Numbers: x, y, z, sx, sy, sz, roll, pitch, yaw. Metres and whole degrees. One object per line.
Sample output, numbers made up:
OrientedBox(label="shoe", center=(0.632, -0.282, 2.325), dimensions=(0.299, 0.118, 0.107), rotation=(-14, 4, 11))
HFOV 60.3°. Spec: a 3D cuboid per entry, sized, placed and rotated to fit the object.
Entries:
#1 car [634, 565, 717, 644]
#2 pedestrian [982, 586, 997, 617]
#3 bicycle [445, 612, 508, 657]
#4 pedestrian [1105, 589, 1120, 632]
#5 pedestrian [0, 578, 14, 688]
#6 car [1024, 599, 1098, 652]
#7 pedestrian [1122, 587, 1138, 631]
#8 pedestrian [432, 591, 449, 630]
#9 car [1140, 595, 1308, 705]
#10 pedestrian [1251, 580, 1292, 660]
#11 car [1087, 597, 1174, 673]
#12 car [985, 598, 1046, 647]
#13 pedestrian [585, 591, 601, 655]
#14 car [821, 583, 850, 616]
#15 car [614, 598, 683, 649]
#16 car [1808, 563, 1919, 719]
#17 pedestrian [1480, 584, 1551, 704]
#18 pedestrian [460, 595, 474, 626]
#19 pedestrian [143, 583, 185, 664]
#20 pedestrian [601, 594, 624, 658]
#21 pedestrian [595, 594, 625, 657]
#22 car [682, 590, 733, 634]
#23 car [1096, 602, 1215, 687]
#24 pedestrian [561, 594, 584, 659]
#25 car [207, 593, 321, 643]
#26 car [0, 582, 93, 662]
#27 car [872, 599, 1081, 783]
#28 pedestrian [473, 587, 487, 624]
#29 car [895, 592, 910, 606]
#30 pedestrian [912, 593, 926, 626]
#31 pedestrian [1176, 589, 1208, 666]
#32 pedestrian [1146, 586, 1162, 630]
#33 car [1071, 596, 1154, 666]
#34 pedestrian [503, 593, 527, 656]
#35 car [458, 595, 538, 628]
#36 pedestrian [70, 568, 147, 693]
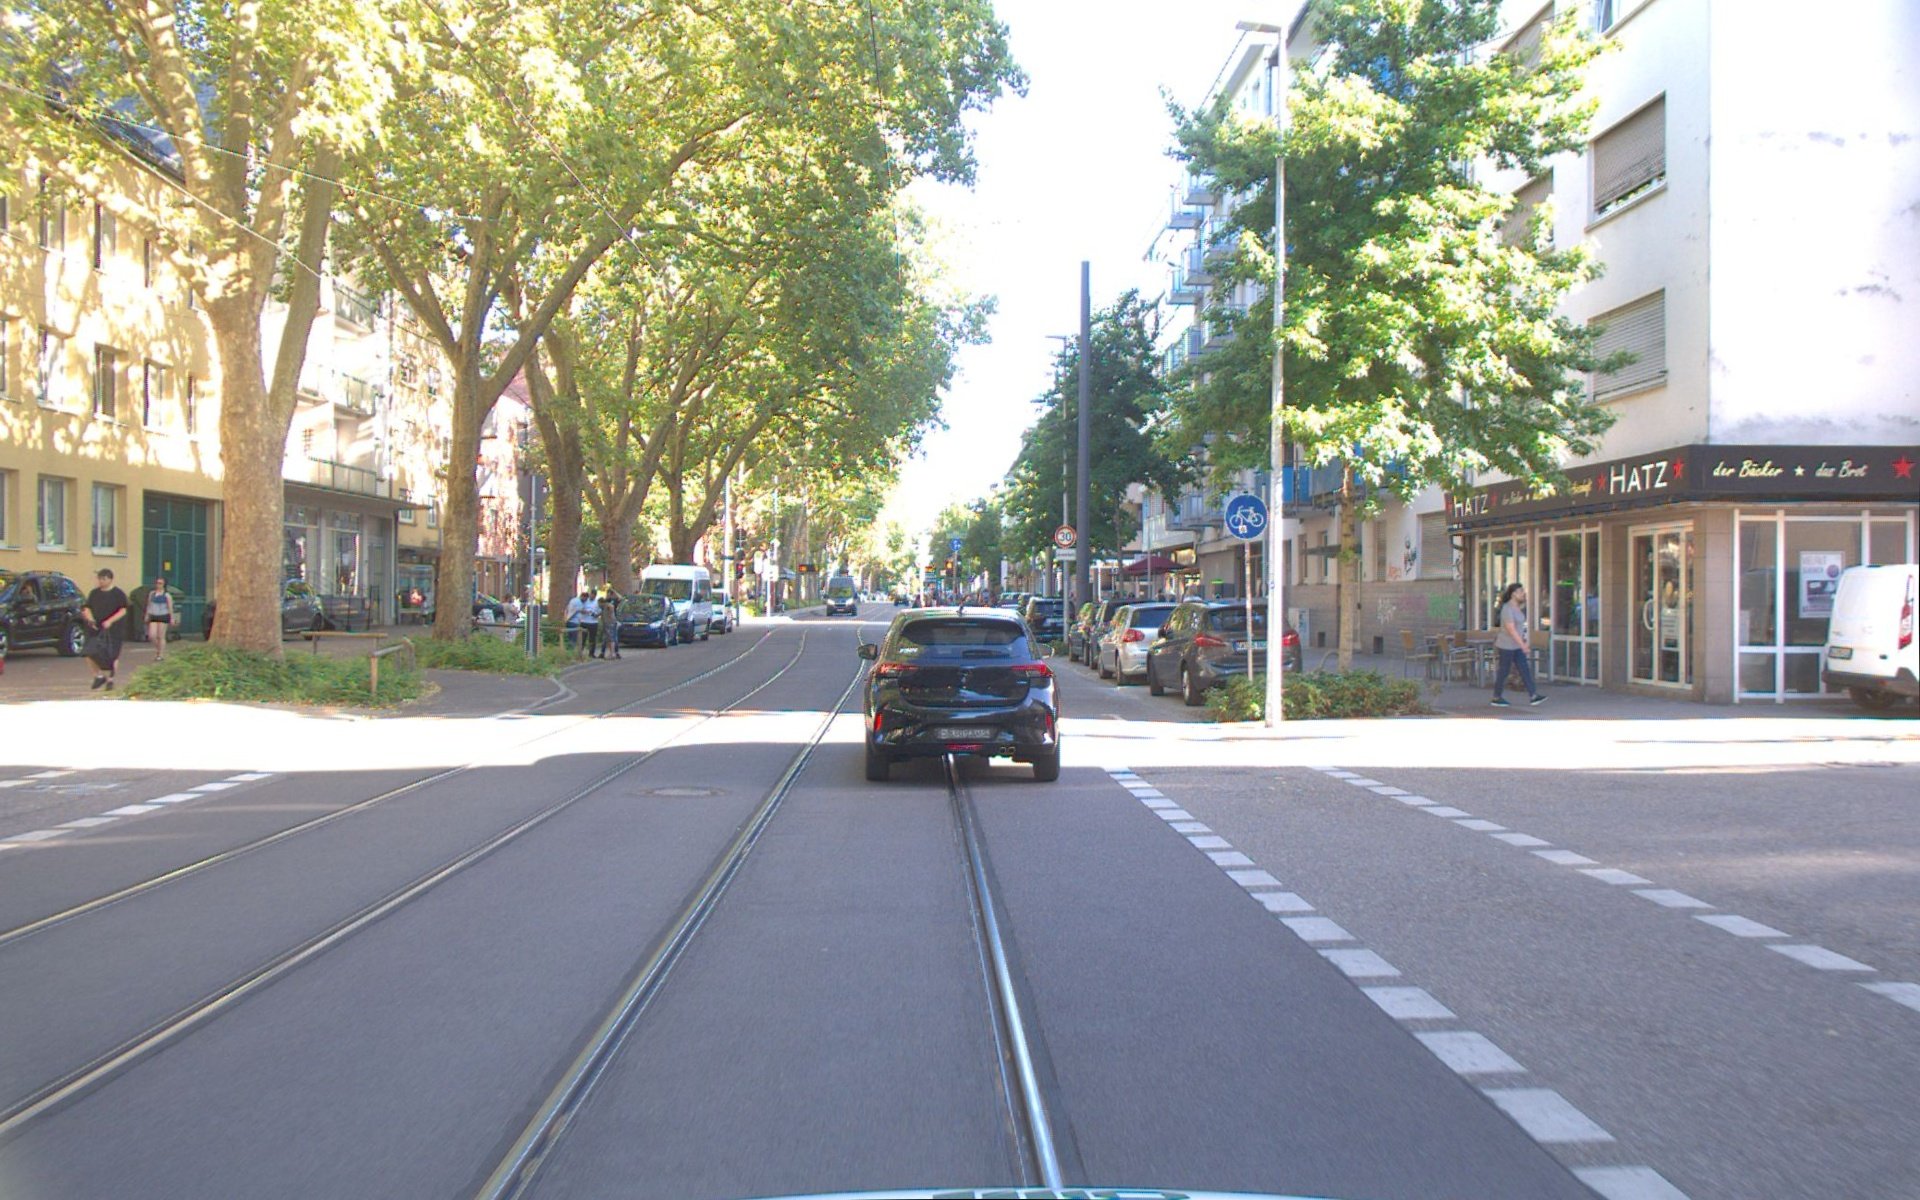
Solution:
OrientedBox(label="car", center=(-9.895, 0.134, 57.904), dimensions=(2.050, 2.629, 5.994), rotation=(0, 0, -2))
OrientedBox(label="pedestrian", center=(1.976, 0.100, 112.258), dimensions=(0.839, 2.048, 1.069), rotation=(-4, -1, -1))
OrientedBox(label="bicycle", center=(-12.275, 0.878, 41.994), dimensions=(1.659, 1.080, 0.452), rotation=(2, -1, 29))
OrientedBox(label="pedestrian", center=(6.220, 0.429, 67.530), dimensions=(0.616, 1.763, 0.632), rotation=(0, 0, 3))
OrientedBox(label="pedestrian", center=(-14.891, 0.495, 25.007), dimensions=(0.830, 1.661, 0.643), rotation=(0, 0, -7))
OrientedBox(label="car", center=(3.043, 0.760, 50.573), dimensions=(1.953, 1.534, 3.999), rotation=(0, 0, -1))
OrientedBox(label="pedestrian", center=(6.948, 0.371, 67.455), dimensions=(0.616, 1.763, 0.632), rotation=(0, 0, 3))
OrientedBox(label="pedestrian", center=(-21.579, 0.451, 68.678), dimensions=(0.542, 1.610, 0.573), rotation=(0, 0, -6))
OrientedBox(label="car", center=(4.102, 0.718, 26.301), dimensions=(1.685, 1.601, 4.080), rotation=(0, 0, -5))
OrientedBox(label="pedestrian", center=(6.987, 0.448, 37.109), dimensions=(0.776, 1.779, 0.770), rotation=(0, 0, 1))
OrientedBox(label="car", center=(3.711, 0.736, 36.447), dimensions=(1.617, 1.601, 3.083), rotation=(0, 0, 0))
OrientedBox(label="car", center=(1.921, 0.774, 58.572), dimensions=(1.953, 1.668, 3.999), rotation=(0, 0, -1))
OrientedBox(label="pedestrian", center=(-9.353, 0.575, 42.152), dimensions=(0.339, 1.610, 0.508), rotation=(0, 0, -3))
OrientedBox(label="car", center=(-8.936, -0.048, 118.493), dimensions=(1.955, 2.250, 5.096), rotation=(0, 0, -6))
OrientedBox(label="car", center=(-9.701, 0.704, 51.695), dimensions=(1.720, 1.534, 3.996), rotation=(0, 0, -5))
OrientedBox(label="car", center=(13.370, 0.481, 20.984), dimensions=(4.274, 1.863, 1.998), rotation=(0, 0, -6))
OrientedBox(label="pedestrian", center=(7.795, 0.606, 23.196), dimensions=(0.838, 1.645, 0.769), rotation=(0, 0, 27))
OrientedBox(label="pedestrian", center=(-21.729, 0.474, 72.920), dimensions=(0.497, 1.356, 0.526), rotation=(0, 0, -5))
OrientedBox(label="pedestrian", center=(-16.723, 0.481, 34.746), dimensions=(0.540, 1.681, 0.649), rotation=(0, 0, 2))
OrientedBox(label="pedestrian", center=(-8.839, 0.661, 42.057), dimensions=(0.496, 1.610, 0.526), rotation=(0, 0, -2))
OrientedBox(label="pedestrian", center=(-9.051, 0.654, 42.782), dimensions=(0.670, 1.610, 0.557), rotation=(0, 0, -4))
OrientedBox(label="car", center=(-10.373, 0.452, 68.124), dimensions=(1.956, 1.747, 3.994), rotation=(0, 0, -7))
OrientedBox(label="car", center=(3.696, 0.798, 31.779), dimensions=(1.684, 1.516, 3.679), rotation=(0, 0, -3))
OrientedBox(label="pedestrian", center=(-9.789, 0.665, 41.763), dimensions=(0.497, 1.610, 0.526), rotation=(0, 0, -6))
OrientedBox(label="car", center=(-19.433, 0.477, 46.338), dimensions=(1.661, 1.298, 3.827), rotation=(0, 1, -2))
OrientedBox(label="car", center=(-19.438, 0.414, 33.532), dimensions=(1.647, 1.543, 3.999), rotation=(1, 0, -1))
OrientedBox(label="car", center=(0.075, 0.737, 15.163), dimensions=(1.646, 1.447, 3.626), rotation=(2, 0, -2))
OrientedBox(label="pedestrian", center=(-21.048, 0.243, 72.488), dimensions=(0.497, 1.610, 0.526), rotation=(0, 0, -5))
OrientedBox(label="car", center=(-7.060, -0.151, 203.149), dimensions=(1.714, 1.680, 4.000), rotation=(0, 0, 0))
OrientedBox(label="pedestrian", center=(-2.033, 0.478, 81.688), dimensions=(0.584, 1.618, 0.891), rotation=(0, 0, -8))
OrientedBox(label="pedestrian", center=(5.078, 0.595, 36.225), dimensions=(0.588, 1.680, 0.630), rotation=(0, 0, -2))
OrientedBox(label="pedestrian", center=(7.896, 0.321, 67.333), dimensions=(0.616, 1.763, 0.632), rotation=(0, 0, 4))
OrientedBox(label="car", center=(3.662, 0.718, 40.262), dimensions=(1.683, 1.601, 3.681), rotation=(0, 0, 0))
OrientedBox(label="pedestrian", center=(-11.370, 0.619, 42.278), dimensions=(0.497, 1.610, 0.526), rotation=(0, 0, -5))
OrientedBox(label="car", center=(-24.884, 0.616, 89.230), dimensions=(3.912, 1.736, 1.996), rotation=(0, 0, -8))
OrientedBox(label="pedestrian", center=(-13.133, 0.459, 25.527), dimensions=(0.888, 1.901, 0.643), rotation=(0, 0, -7))
